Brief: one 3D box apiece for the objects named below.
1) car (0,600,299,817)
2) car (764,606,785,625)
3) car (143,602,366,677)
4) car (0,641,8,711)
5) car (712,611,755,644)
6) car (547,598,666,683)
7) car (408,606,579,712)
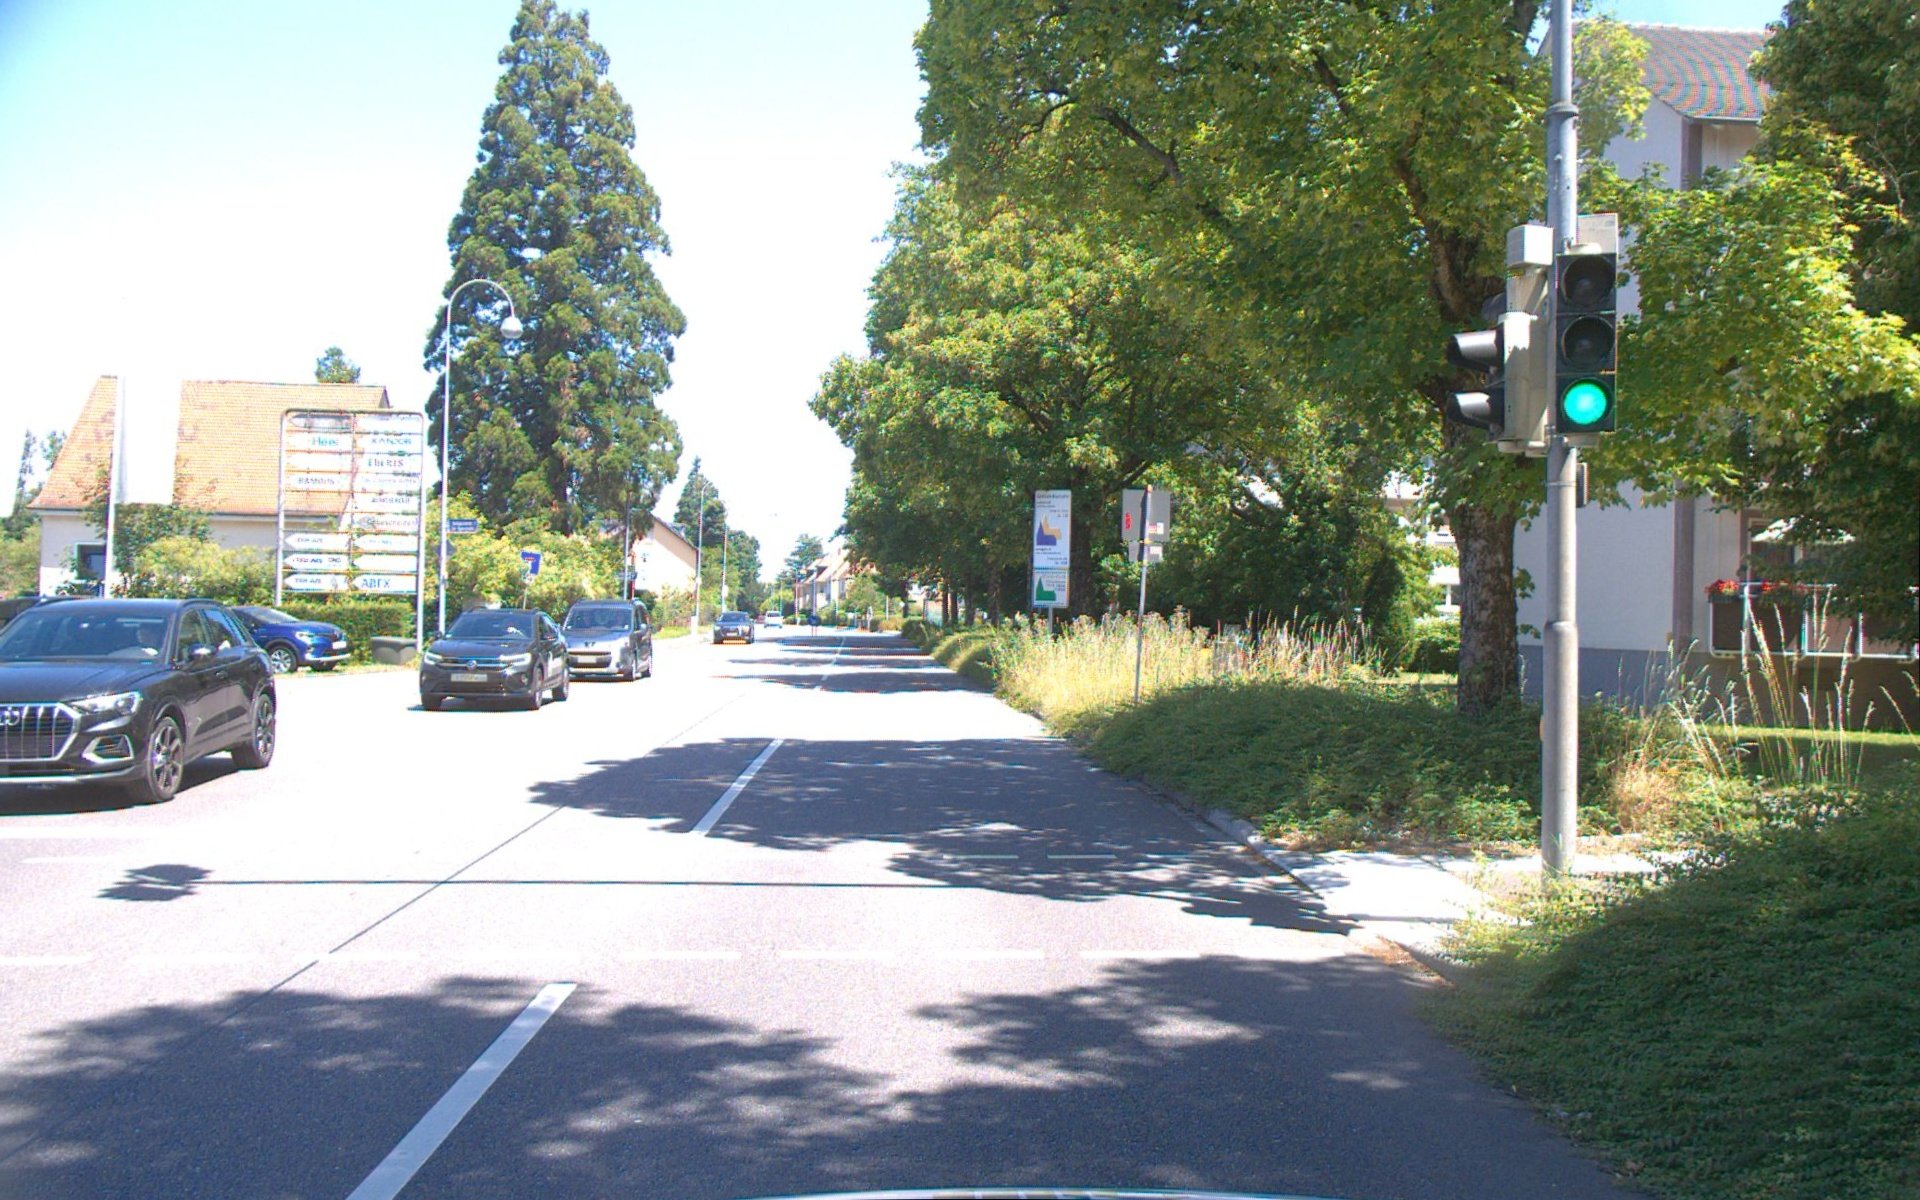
[{"bbox_3d":[-7.246,0.807,14.187,1.890,1.583,4.295,0,-1,-8],"label":"car"},{"bbox_3d":[-18.338,1.550,163.554,1.875,1.718,4.122,3,0,-4],"label":"car"},{"bbox_3d":[-15.137,0.828,35.582,4.047,1.531,1.779,0,-1,8],"label":"car"},{"bbox_3d":[-24.725,1.875,39.728,1.775,1.752,4.081,1,-1,-8],"label":"car"},{"bbox_3d":[-11.141,1.349,81.649,1.758,1.563,4.312,1,-1,-3],"label":"car"},{"bbox_3d":[-7.832,0.873,37.056,1.774,1.793,4.568,0,-1,-1],"label":"car"},{"bbox_3d":[-7.262,0.877,26.129,1.832,1.533,4.048,0,-1,-5],"label":"car"}]
